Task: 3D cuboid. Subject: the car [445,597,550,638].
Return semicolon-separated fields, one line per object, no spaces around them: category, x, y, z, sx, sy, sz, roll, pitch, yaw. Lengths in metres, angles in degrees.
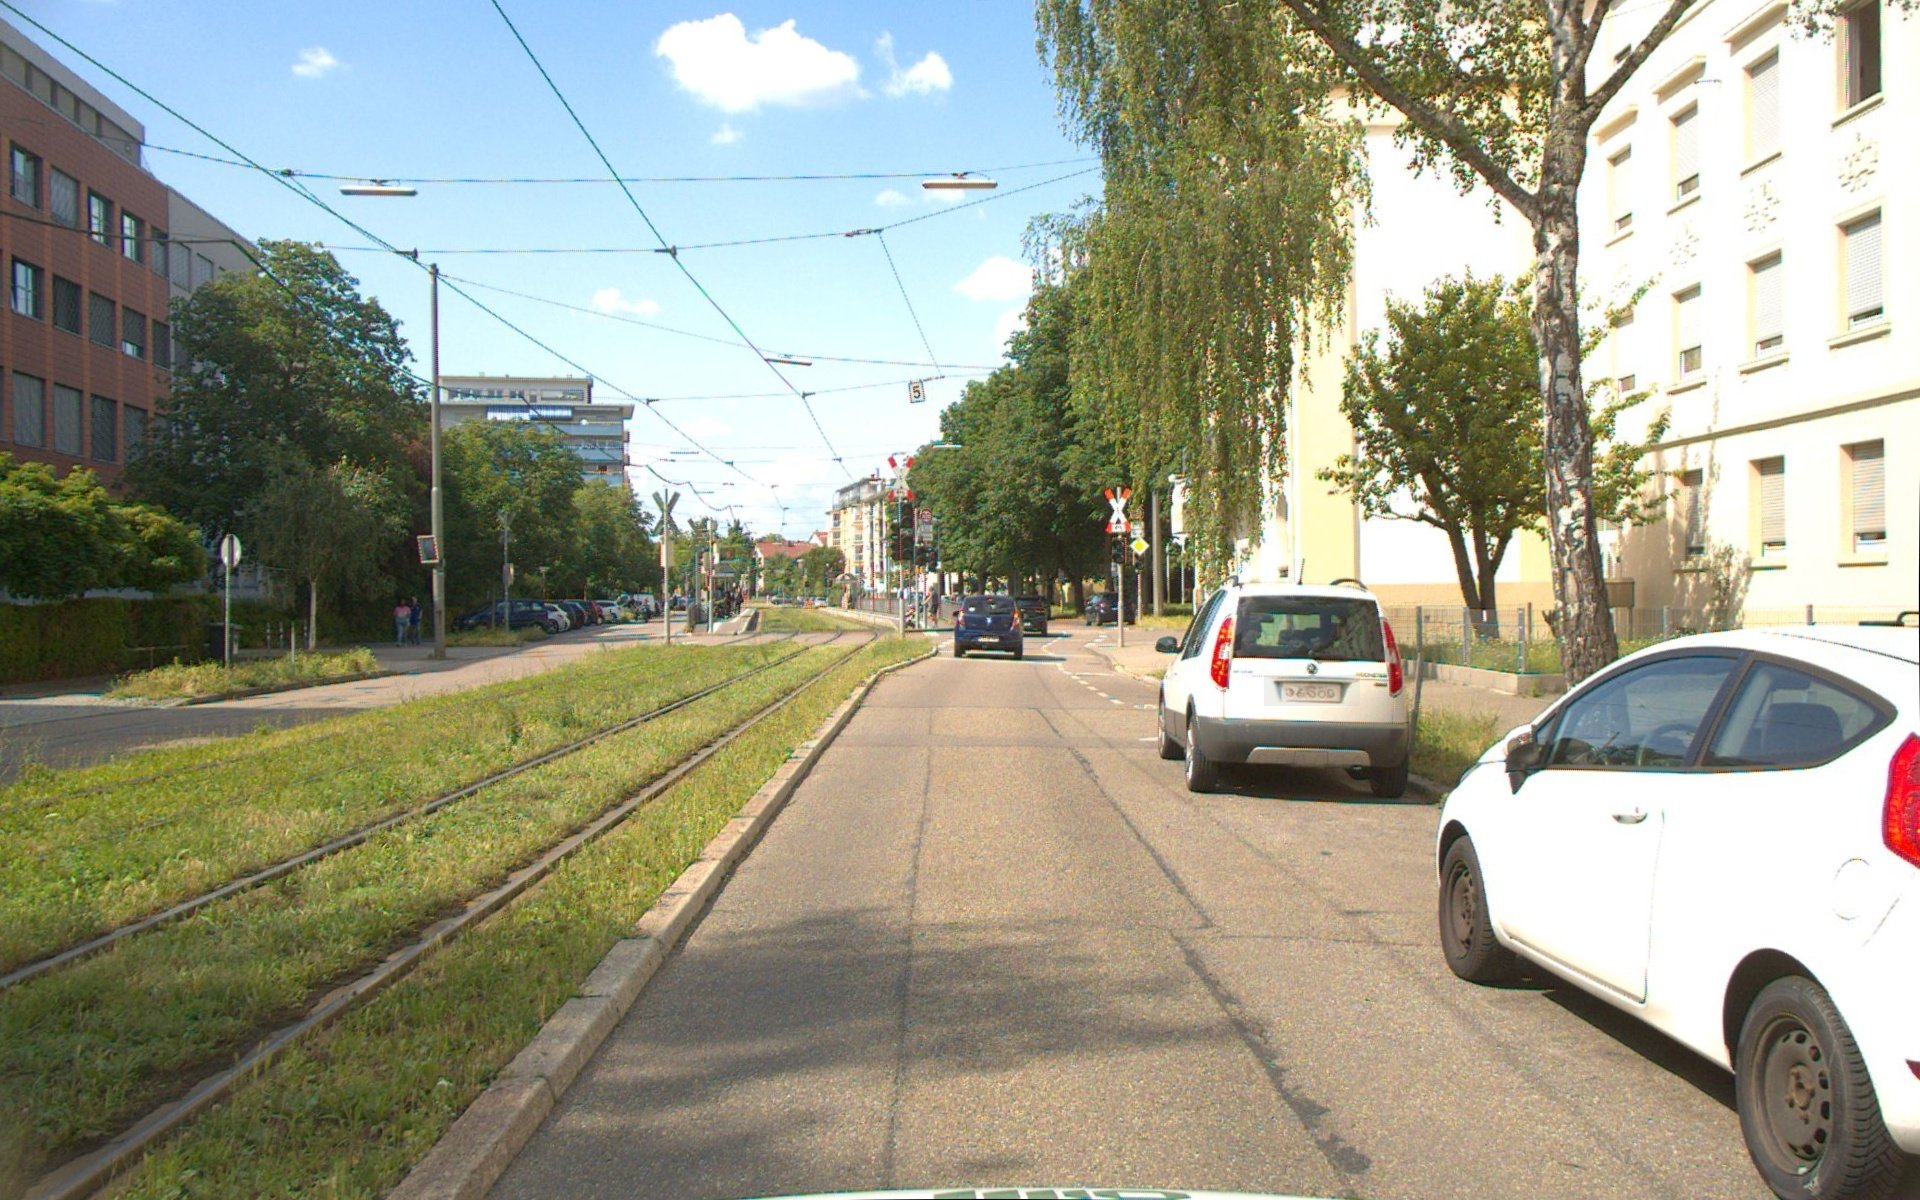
car;-19.996;0.754;71.580;1.696;1.669;4.104;-1;0;44

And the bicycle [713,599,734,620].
bicycle;-12.283;0.486;86.041;0.671;0.991;1.772;-3;1;4

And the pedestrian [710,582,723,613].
pedestrian;-13.596;-0.124;92.521;0.642;1.722;0.655;-2;0;-6

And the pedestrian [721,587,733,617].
pedestrian;-13.776;0.107;97.876;0.591;1.797;0.639;-1;0;3

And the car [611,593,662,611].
car;-26.602;0.196;136.113;1.608;1.410;3.982;-1;0;38

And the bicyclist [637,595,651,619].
bicyclist;-21.358;0.449;111.796;0.769;1.609;0.863;-2;0;-3

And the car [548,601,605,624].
car;-23.442;0.731;101.090;1.428;1.332;3.232;-1;0;38

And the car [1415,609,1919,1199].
car;2.886;0.795;5.430;1.639;1.441;3.794;2;0;-1

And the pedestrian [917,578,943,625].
pedestrian;-1.189;0.064;65.850;0.854;1.806;1.002;-3;0;-6

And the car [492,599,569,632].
car;-20.893;0.737;80.511;3.363;1.531;1.519;-1;0;-44

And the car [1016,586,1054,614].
car;4.225;0.004;93.895;1.823;1.470;3.999;-3;0;-1

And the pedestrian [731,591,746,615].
pedestrian;-13.235;0.178;98.645;0.642;1.451;0.562;-2;0;31

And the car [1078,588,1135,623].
car;6.451;0.228;73.260;1.732;1.458;3.898;-2;0;-7

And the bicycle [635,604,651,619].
bicycle;-21.398;0.791;111.679;0.667;0.988;2.177;-2;0;-2

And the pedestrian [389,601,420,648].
pedestrian;-19.302;0.866;57.492;0.730;1.601;0.889;-1;-1;2

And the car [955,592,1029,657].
car;0.783;0.560;40.993;1.731;1.487;3.776;1;0;1

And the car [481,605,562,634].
car;-20.505;0.913;77.390;1.518;1.258;3.366;-1;0;44

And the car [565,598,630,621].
car;-24.321;0.611;111.061;1.686;1.391;3.976;-1;0;42

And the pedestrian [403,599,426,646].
pedestrian;-19.698;0.803;59.741;0.545;1.686;0.747;-1;0;2

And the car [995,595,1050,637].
car;2.210;0.538;59.091;1.666;1.392;3.513;2;0;-2

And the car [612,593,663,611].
car;-27.506;0.147;141.295;3.964;1.472;1.702;-1;0;-41

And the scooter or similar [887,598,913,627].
scooter or similar;-2.370;0.506;65.513;0.936;1.083;0.796;-3;0;-7

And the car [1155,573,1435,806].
car;2.695;0.648;14.141;1.685;1.658;4.001;2;0;2
